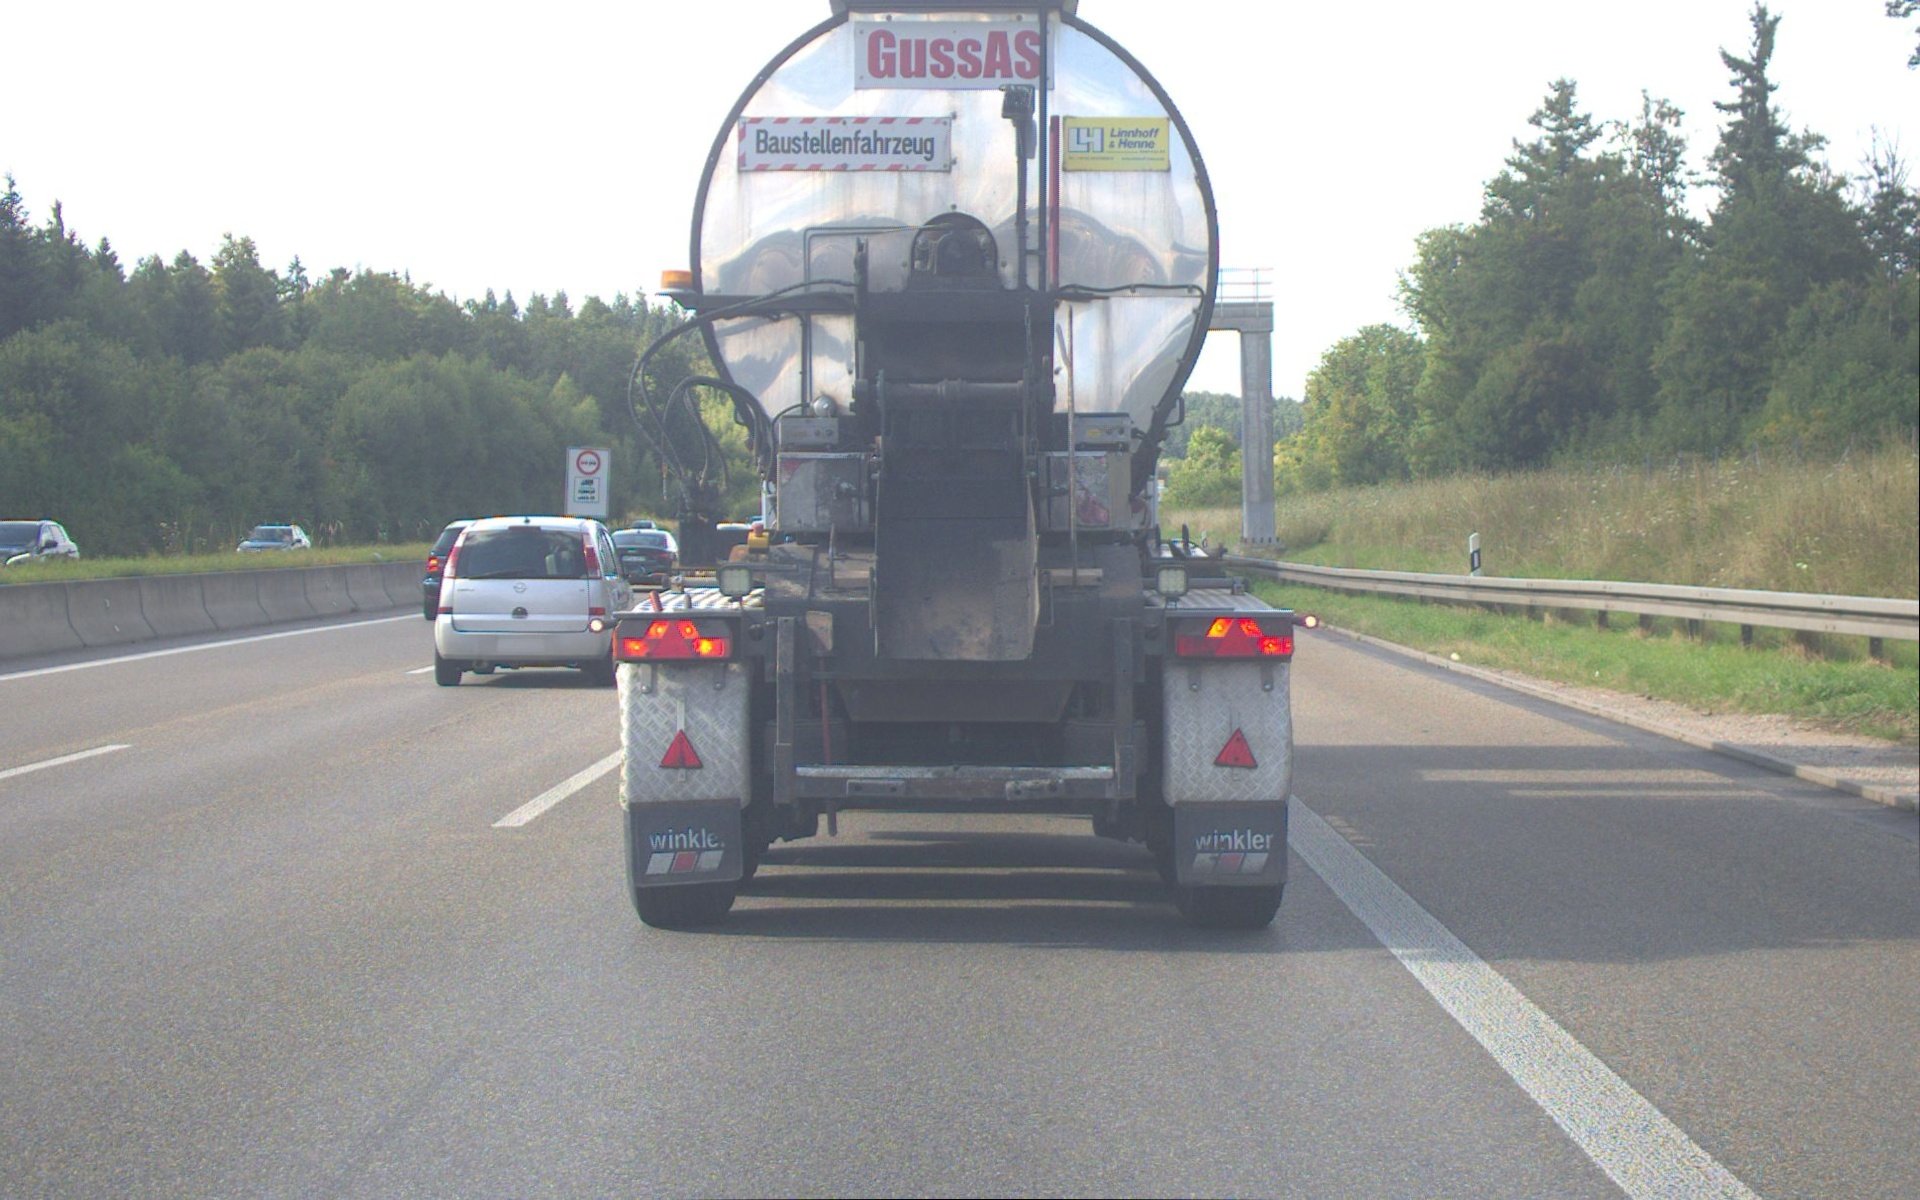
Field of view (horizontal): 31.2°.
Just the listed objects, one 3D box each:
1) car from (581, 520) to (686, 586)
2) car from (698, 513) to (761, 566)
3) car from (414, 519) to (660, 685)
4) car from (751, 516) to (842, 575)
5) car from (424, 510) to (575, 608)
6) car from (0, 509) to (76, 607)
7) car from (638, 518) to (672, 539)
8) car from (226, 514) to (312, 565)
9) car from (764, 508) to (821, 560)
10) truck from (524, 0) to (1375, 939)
[{"bbox_3d":[-7.274,-1.071,77.028,1.856,1.426,4.841,0,1,1],"label":"car"},{"bbox_3d":[-6.831,-1.803,101.986,1.618,1.539,3.520,1,1,0],"label":"car"},{"bbox_3d":[-4.038,-0.031,33.475,1.835,1.512,4.333,0,1,0],"label":"car"},{"bbox_3d":[-4.236,-1.439,89.753,2.060,1.494,5.736,0,1,1],"label":"car"},{"bbox_3d":[-7.365,-0.689,55.341,1.835,1.512,4.333,0,1,0],"label":"car"},{"bbox_3d":[-18.933,-0.856,67.563,1.993,1.874,4.438,0,1,0],"label":"car"},{"bbox_3d":[-19.307,-4.523,217.937,1.816,1.286,3.544,0,1,1],"label":"car"},{"bbox_3d":[-22.275,-1.968,111.005,1.879,1.622,4.570,0,1,0],"label":"car"},{"bbox_3d":[-5.837,-2.303,119.998,1.845,1.776,4.000,0,1,-1],"label":"car"},{"bbox_3d":[0.026,-1.046,17.410,2.913,4.143,11.270,0,1,1],"label":"truck"}]
